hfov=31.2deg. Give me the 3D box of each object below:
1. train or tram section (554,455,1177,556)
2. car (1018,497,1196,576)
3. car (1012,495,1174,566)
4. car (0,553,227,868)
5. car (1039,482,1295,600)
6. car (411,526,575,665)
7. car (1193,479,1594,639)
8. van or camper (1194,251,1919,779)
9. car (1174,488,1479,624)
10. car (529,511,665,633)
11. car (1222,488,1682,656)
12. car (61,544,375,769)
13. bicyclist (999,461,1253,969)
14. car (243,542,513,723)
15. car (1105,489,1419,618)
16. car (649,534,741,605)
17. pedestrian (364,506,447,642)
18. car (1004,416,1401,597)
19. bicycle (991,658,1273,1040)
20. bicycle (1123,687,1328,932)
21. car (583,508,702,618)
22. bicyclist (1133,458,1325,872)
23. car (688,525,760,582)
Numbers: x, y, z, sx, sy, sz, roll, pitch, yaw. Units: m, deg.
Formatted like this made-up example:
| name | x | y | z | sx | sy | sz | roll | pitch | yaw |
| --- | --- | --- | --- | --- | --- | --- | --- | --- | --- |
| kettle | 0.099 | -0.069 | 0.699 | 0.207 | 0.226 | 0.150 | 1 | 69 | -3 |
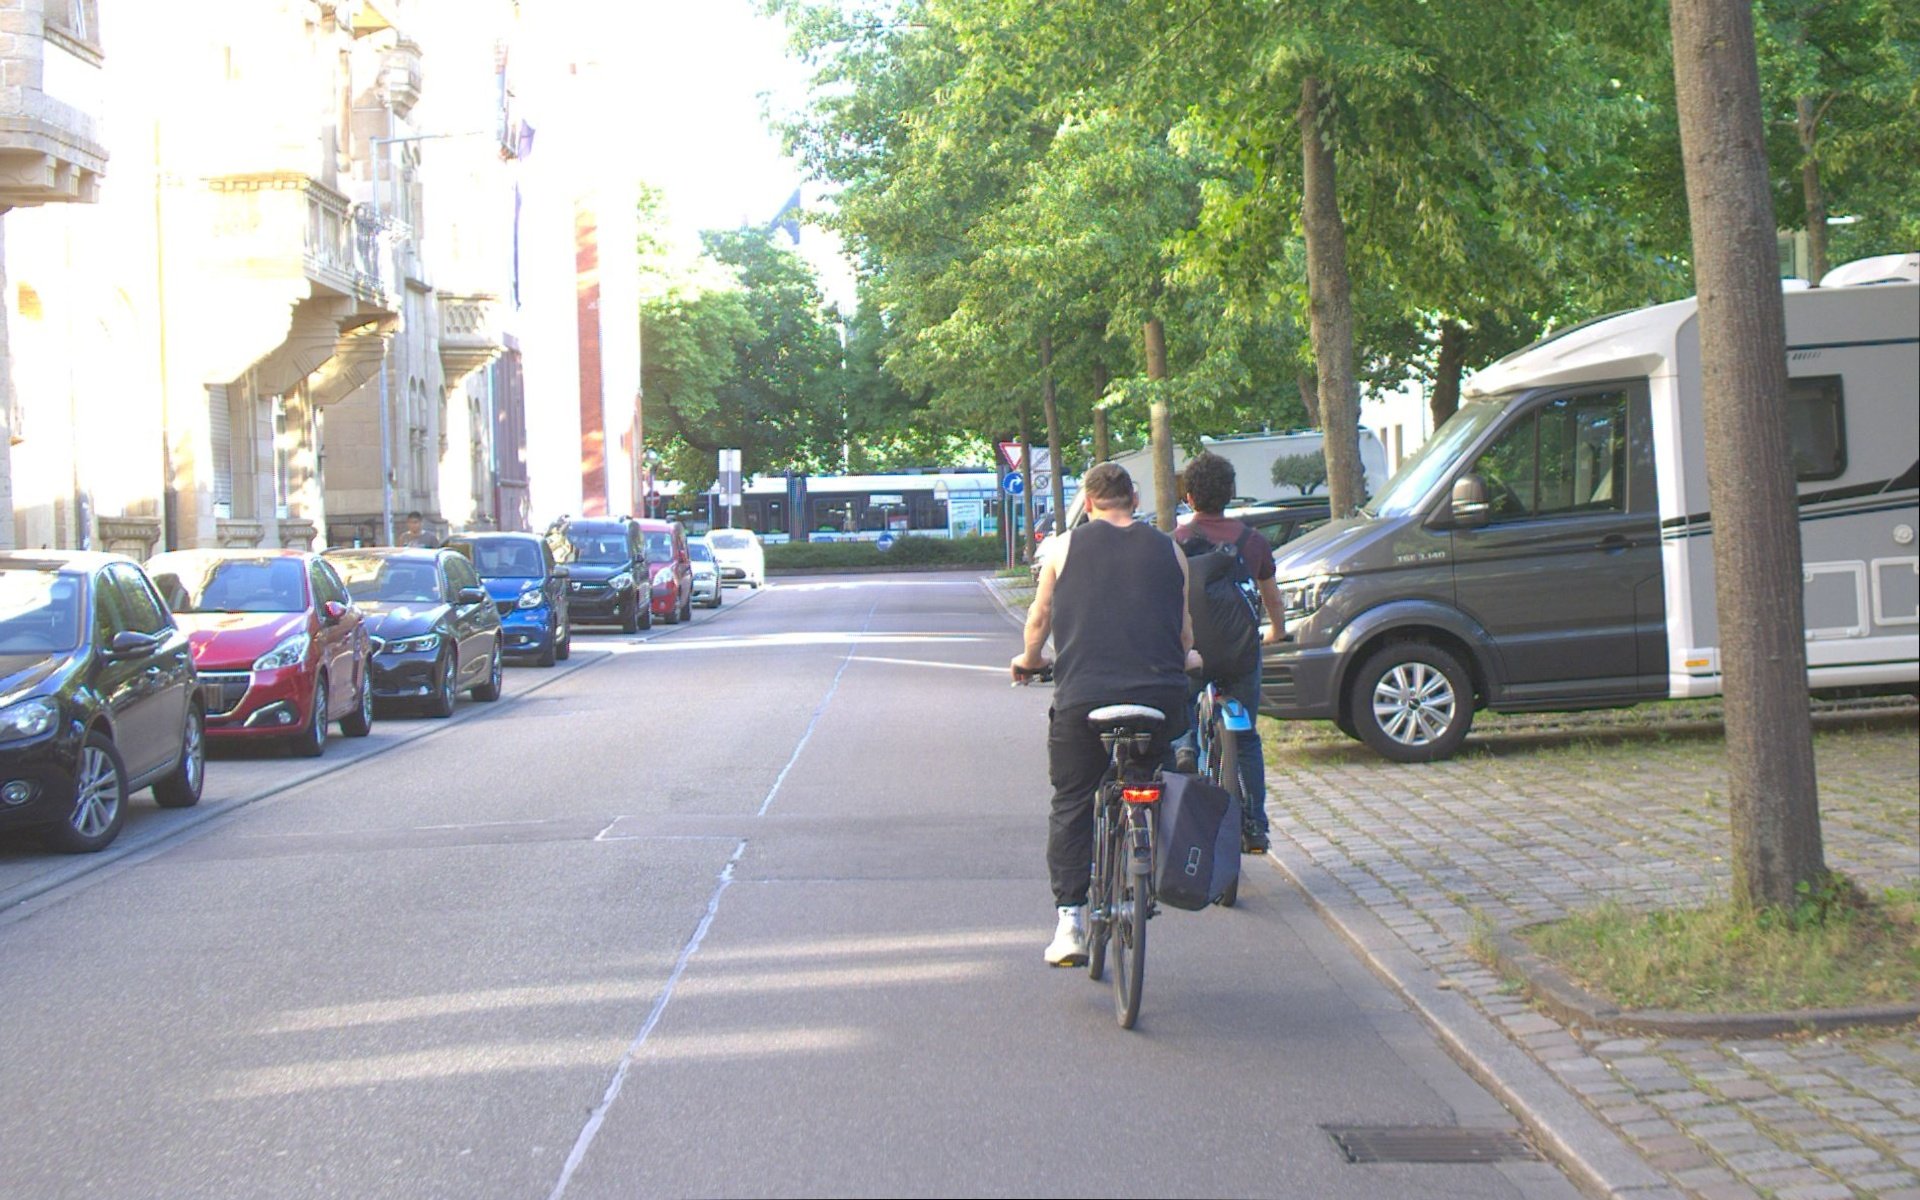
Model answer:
| name | x | y | z | sx | sy | sz | roll | pitch | yaw |
| --- | --- | --- | --- | --- | --- | --- | --- | --- | --- |
| train or tram section | -3.388 | -3.568 | 131.317 | 23.800 | 3.696 | 4.287 | -1 | 1 | -22 |
| car | 3.402 | -1.466 | 79.975 | 3.986 | 1.797 | 1.834 | 0 | 1 | -3 |
| car | 3.374 | -1.769 | 87.859 | 3.986 | 1.797 | 1.834 | 0 | 1 | -3 |
| car | -5.038 | 0.505 | 17.872 | 1.696 | 1.448 | 4.028 | -1 | 1 | -2 |
| car | 3.479 | -1.005 | 58.298 | 4.082 | 1.644 | 1.641 | -5 | 1 | -2 |
| car | -5.421 | -0.083 | 40.178 | 1.595 | 1.484 | 2.737 | 2 | 2 | -2 |
| car | 4.774 | -0.438 | 38.276 | 4.223 | 1.594 | 1.691 | -2 | 0 | 1 |
| van or camper | 5.122 | -0.638 | 20.458 | 7.147 | 2.638 | 2.464 | -5 | 1 | 2 |
| car | 4.735 | -0.557 | 44.812 | 3.773 | 1.594 | 1.691 | -2 | 0 | 1 |
| car | -5.598 | -0.474 | 53.405 | 1.640 | 1.777 | 4.355 | 1 | 2 | 0 |
| car | 4.646 | -0.281 | 32.782 | 4.032 | 1.449 | 1.691 | -2 | 1 | -4 |
| car | -5.302 | 0.347 | 24.980 | 1.628 | 1.448 | 3.838 | 0 | 2 | -3 |
| bicyclist | 0.510 | 0.346 | 10.908 | 0.729 | 1.542 | 0.885 | 0 | 0 | -2 |
| car | -5.181 | 0.239 | 31.127 | 1.675 | 1.425 | 4.551 | 1 | 2 | 0 |
| car | 4.112 | -0.625 | 47.234 | 4.139 | 1.594 | 1.702 | -2 | 0 | 1 |
| car | -5.440 | -0.655 | 70.991 | 1.583 | 1.339 | 4.131 | 1 | 2 | 0 |
| pedestrian | -7.151 | -0.344 | 44.360 | 0.938 | 1.736 | 0.735 | 0 | 1 | 0 |
| car | 4.573 | -1.781 | 65.666 | 7.146 | 2.968 | 2.465 | -3 | 1 | -3 |
| bicycle | 0.507 | 0.737 | 10.927 | 0.737 | 1.050 | 1.956 | 0 | 1 | -2 |
| bicycle | 1.042 | 0.811 | 13.828 | 0.633 | 0.796 | 1.833 | -2 | 2 | -1 |
| car | -5.551 | -0.689 | 60.477 | 1.688 | 1.819 | 4.273 | 1 | 2 | 0 |
| bicyclist | 1.080 | 0.244 | 13.978 | 0.689 | 1.621 | 0.998 | 0 | 1 | 0 |
| car | -6.089 | -1.214 | 88.957 | 1.583 | 1.371 | 4.131 | 1 | 2 | 0 |
